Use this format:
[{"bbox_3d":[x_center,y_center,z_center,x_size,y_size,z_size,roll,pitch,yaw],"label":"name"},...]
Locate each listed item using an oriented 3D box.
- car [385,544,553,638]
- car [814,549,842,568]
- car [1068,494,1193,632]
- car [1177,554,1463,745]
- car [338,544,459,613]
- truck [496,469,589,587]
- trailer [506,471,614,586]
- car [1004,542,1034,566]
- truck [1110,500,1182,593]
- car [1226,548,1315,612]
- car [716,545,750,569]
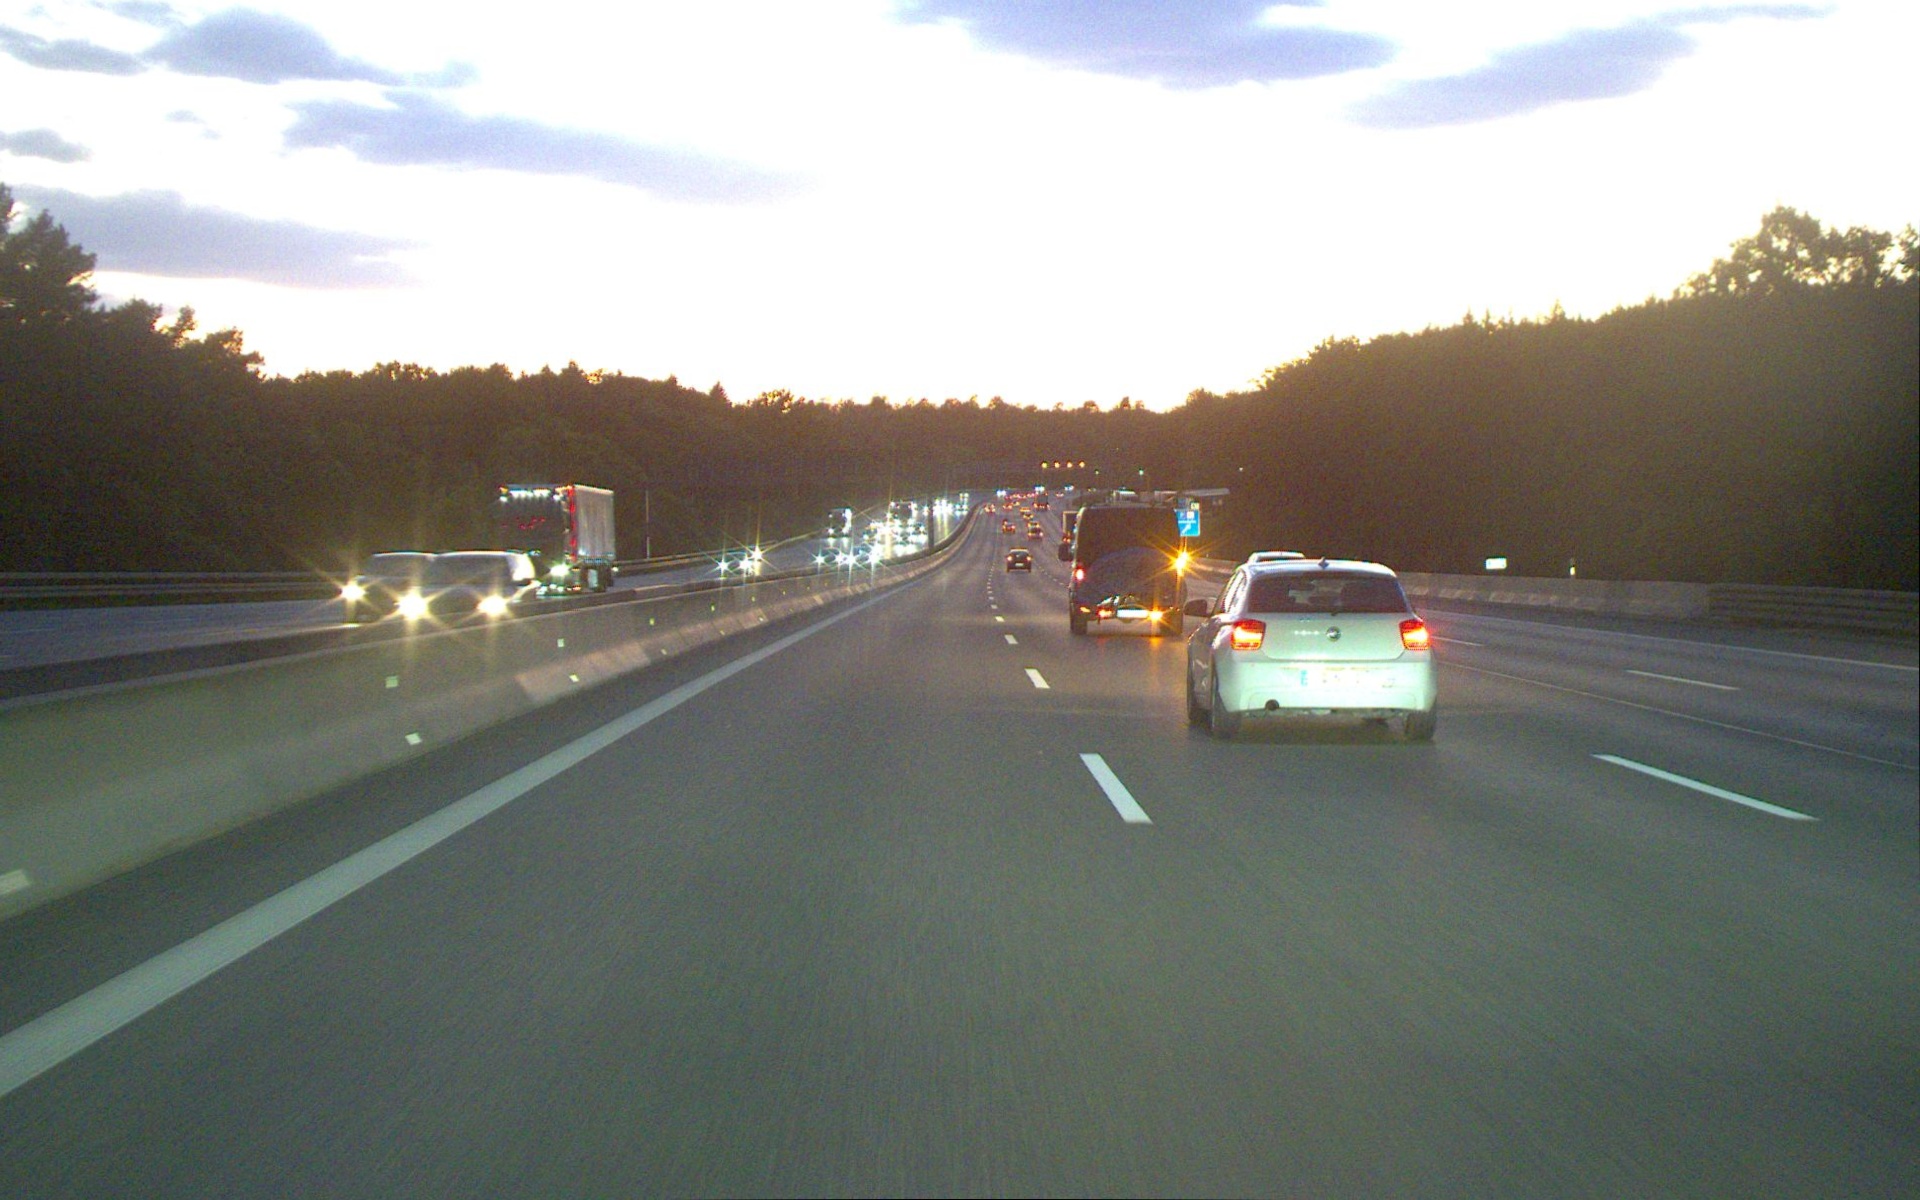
[{"bbox_3d":[-7.646,-0.171,53.953,1.993,1.396,4.688,1,1,0],"label":"car"},{"bbox_3d":[-9.726,-3.070,253.797,1.848,1.409,4.791,0,1,0],"label":"car"},{"bbox_3d":[3.102,-0.679,62.653,2.166,2.410,5.563,0,1,3],"label":"car"},{"bbox_3d":[2.871,0.362,28.141,1.859,1.437,3.720,1,1,-1],"label":"car"},{"bbox_3d":[-11.840,-0.477,72.792,1.776,1.396,4.939,1,1,0],"label":"car"},{"bbox_3d":[-15.029,-2.578,124.170,2.649,4.117,6.525,0,1,-1],"label":"truck"},{"bbox_3d":[-15.142,-2.684,131.057,2.649,4.117,14.328,0,1,-1],"label":"trailer"},{"bbox_3d":[3.946,-3.048,228.789,1.837,1.565,4.000,0,1,3],"label":"car"},{"bbox_3d":[11.925,-3.442,222.269,4.149,5.836,14.296,0,1,1],"label":"truck"},{"bbox_3d":[7.602,-0.501,84.349,2.008,1.533,4.000,0,1,3],"label":"car"},{"bbox_3d":[-13.948,-2.654,211.352,1.912,1.420,4.747,0,1,-2],"label":"car"}]
